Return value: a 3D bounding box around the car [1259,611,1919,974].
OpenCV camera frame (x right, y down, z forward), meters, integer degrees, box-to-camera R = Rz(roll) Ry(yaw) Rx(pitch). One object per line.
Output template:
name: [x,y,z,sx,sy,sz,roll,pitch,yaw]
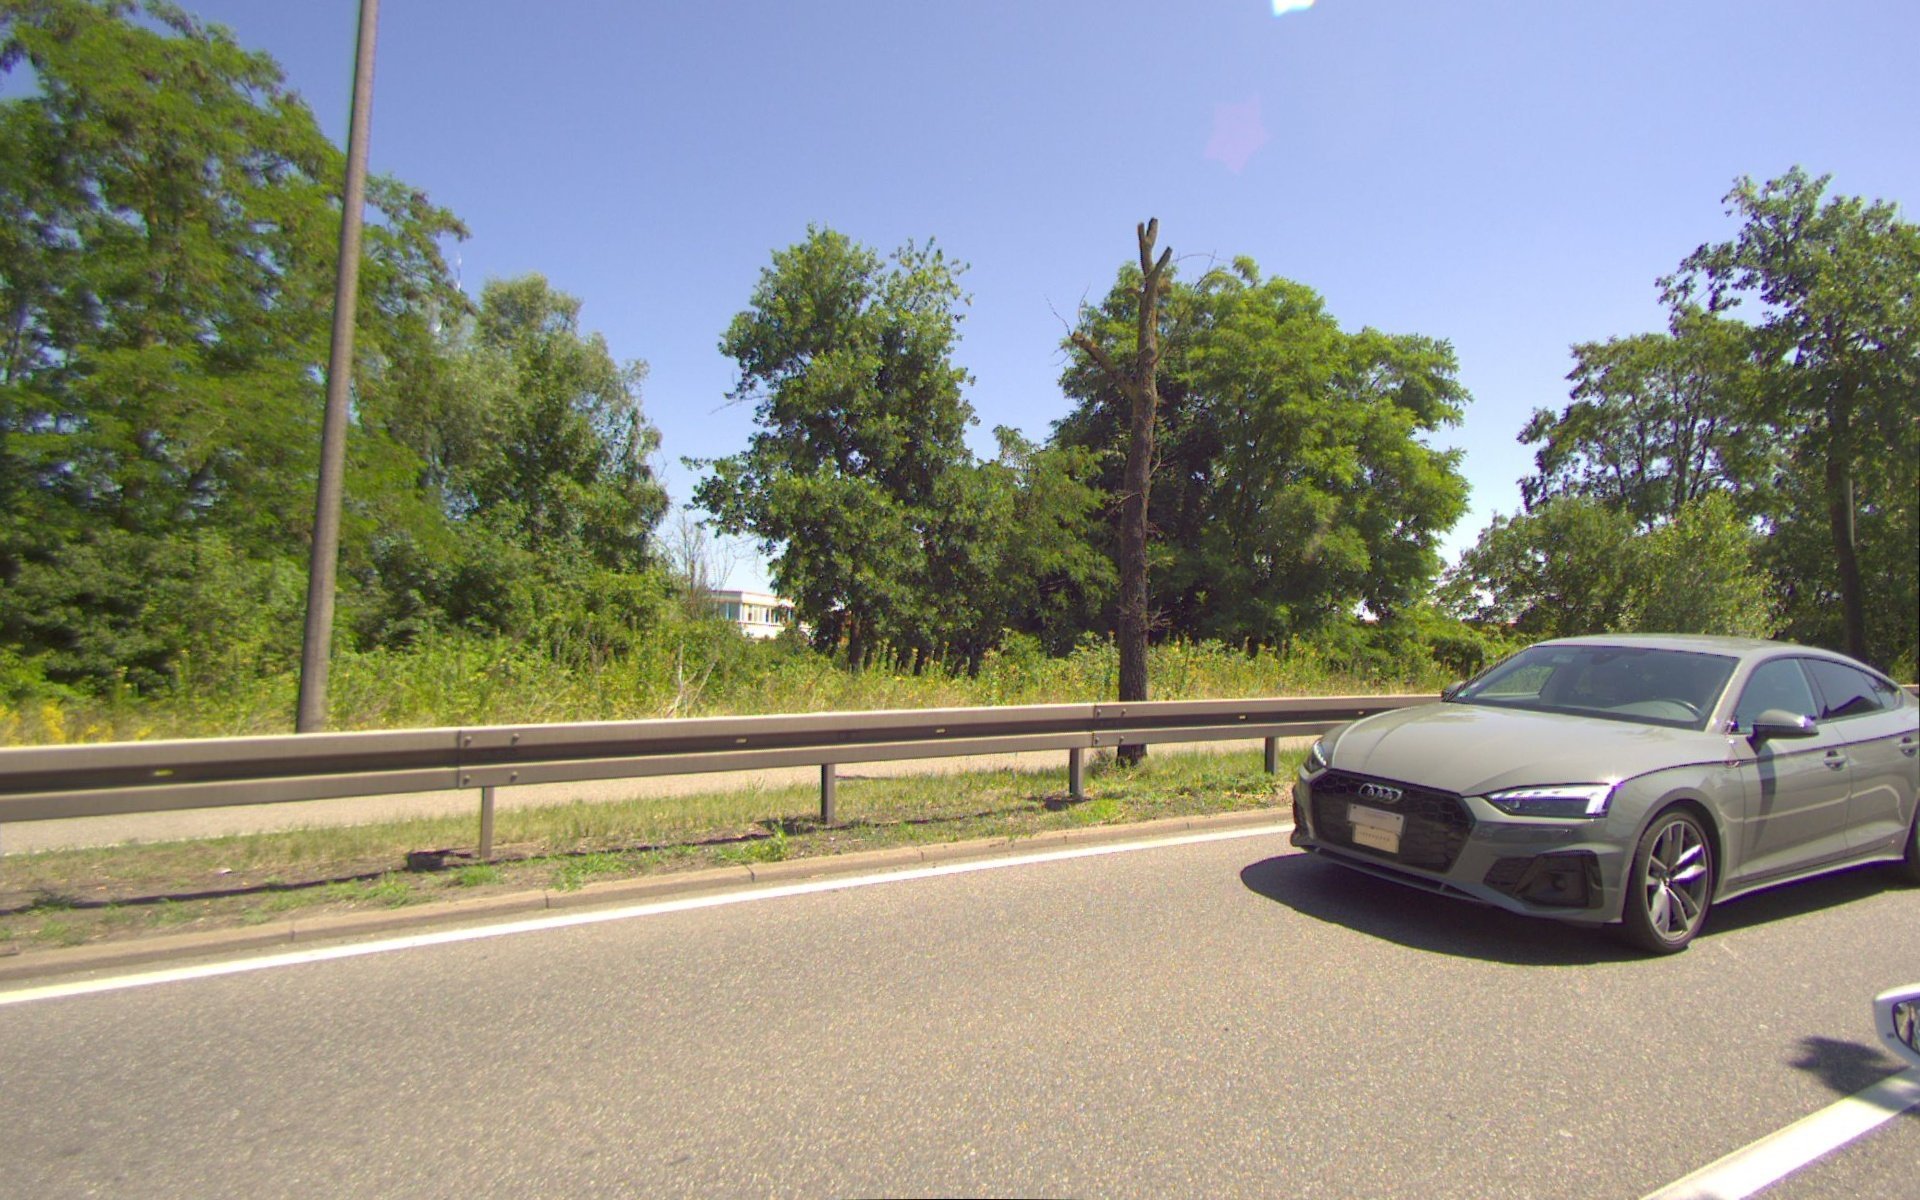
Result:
car: [3.977,0.827,5.824,4.352,1.414,1.752,2,0,-29]
